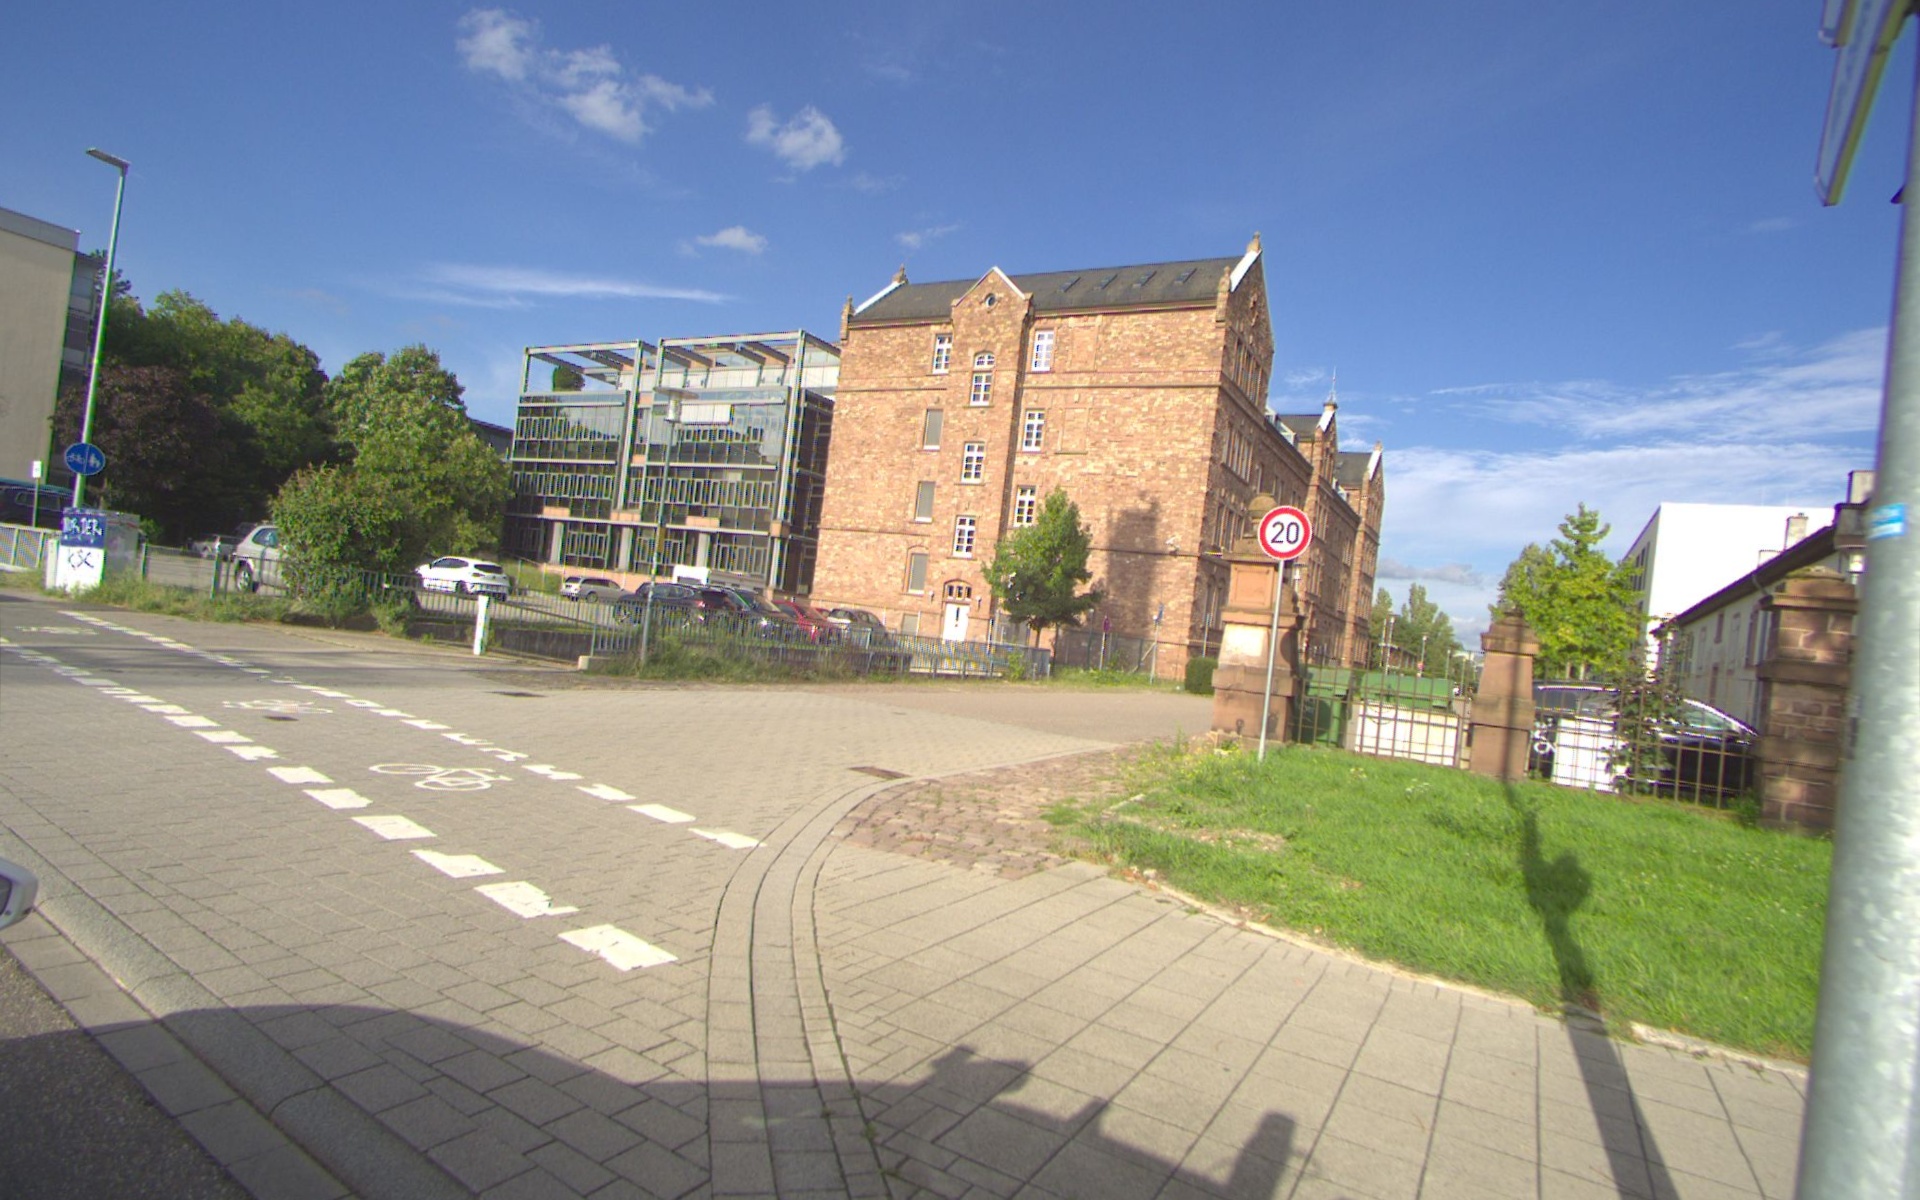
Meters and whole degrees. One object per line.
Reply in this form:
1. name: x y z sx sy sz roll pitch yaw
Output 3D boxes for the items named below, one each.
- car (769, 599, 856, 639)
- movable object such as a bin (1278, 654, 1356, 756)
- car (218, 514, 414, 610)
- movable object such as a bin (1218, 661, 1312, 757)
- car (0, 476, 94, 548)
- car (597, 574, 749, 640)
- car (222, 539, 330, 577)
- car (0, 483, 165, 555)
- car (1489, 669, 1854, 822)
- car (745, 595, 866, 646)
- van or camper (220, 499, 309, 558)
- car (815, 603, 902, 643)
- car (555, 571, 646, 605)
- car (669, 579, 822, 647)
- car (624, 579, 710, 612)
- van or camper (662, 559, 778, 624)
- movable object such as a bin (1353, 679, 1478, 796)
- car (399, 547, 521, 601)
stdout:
1. car: -6.966 0.924 47.871 1.966 1.459 3.994 6 -1 29
2. movable object such as a bin: 5.595 1.635 15.741 0.926 1.440 0.832 6 -1 26
3. car: -14.681 -0.872 22.903 4.081 1.686 1.997 6 -1 30
4. movable object such as a bin: 4.586 1.619 15.071 1.074 1.245 1.194 6 -2 26
5. car: -34.134 -3.255 36.080 1.967 2.212 4.124 6 -1 32
6. car: -8.994 0.204 31.403 4.530 1.609 1.853 5 0 30
7. car: -34.401 -2.100 50.698 1.965 1.345 3.996 6 -1 27
8. car: -28.253 -2.564 31.753 1.967 1.641 4.453 6 -1 32
9. car: 11.164 2.201 16.217 4.431 1.628 1.995 6 0 32
10. car: -5.536 0.730 36.125 3.887 1.281 1.714 8 1 25
11. van or camper: -40.874 -4.205 59.091 5.036 2.911 2.331 6 1 32
12. car: -4.654 1.090 46.718 1.966 1.459 3.994 6 -1 29
13. car: -19.564 -0.626 54.871 1.782 1.397 4.316 6 0 37
14. car: -7.217 0.428 33.750 4.716 1.765 1.855 5 0 25
15. car: -15.360 -0.212 52.978 1.778 1.372 4.326 6 0 28
16. van or camper: -11.717 -0.349 49.511 2.551 2.587 5.251 6 -1 27
17. movable object such as a bin: 6.884 2.034 15.233 1.517 1.476 1.417 6 -2 26
18. car: -18.219 -0.947 36.627 3.931 1.459 1.998 6 -1 28
